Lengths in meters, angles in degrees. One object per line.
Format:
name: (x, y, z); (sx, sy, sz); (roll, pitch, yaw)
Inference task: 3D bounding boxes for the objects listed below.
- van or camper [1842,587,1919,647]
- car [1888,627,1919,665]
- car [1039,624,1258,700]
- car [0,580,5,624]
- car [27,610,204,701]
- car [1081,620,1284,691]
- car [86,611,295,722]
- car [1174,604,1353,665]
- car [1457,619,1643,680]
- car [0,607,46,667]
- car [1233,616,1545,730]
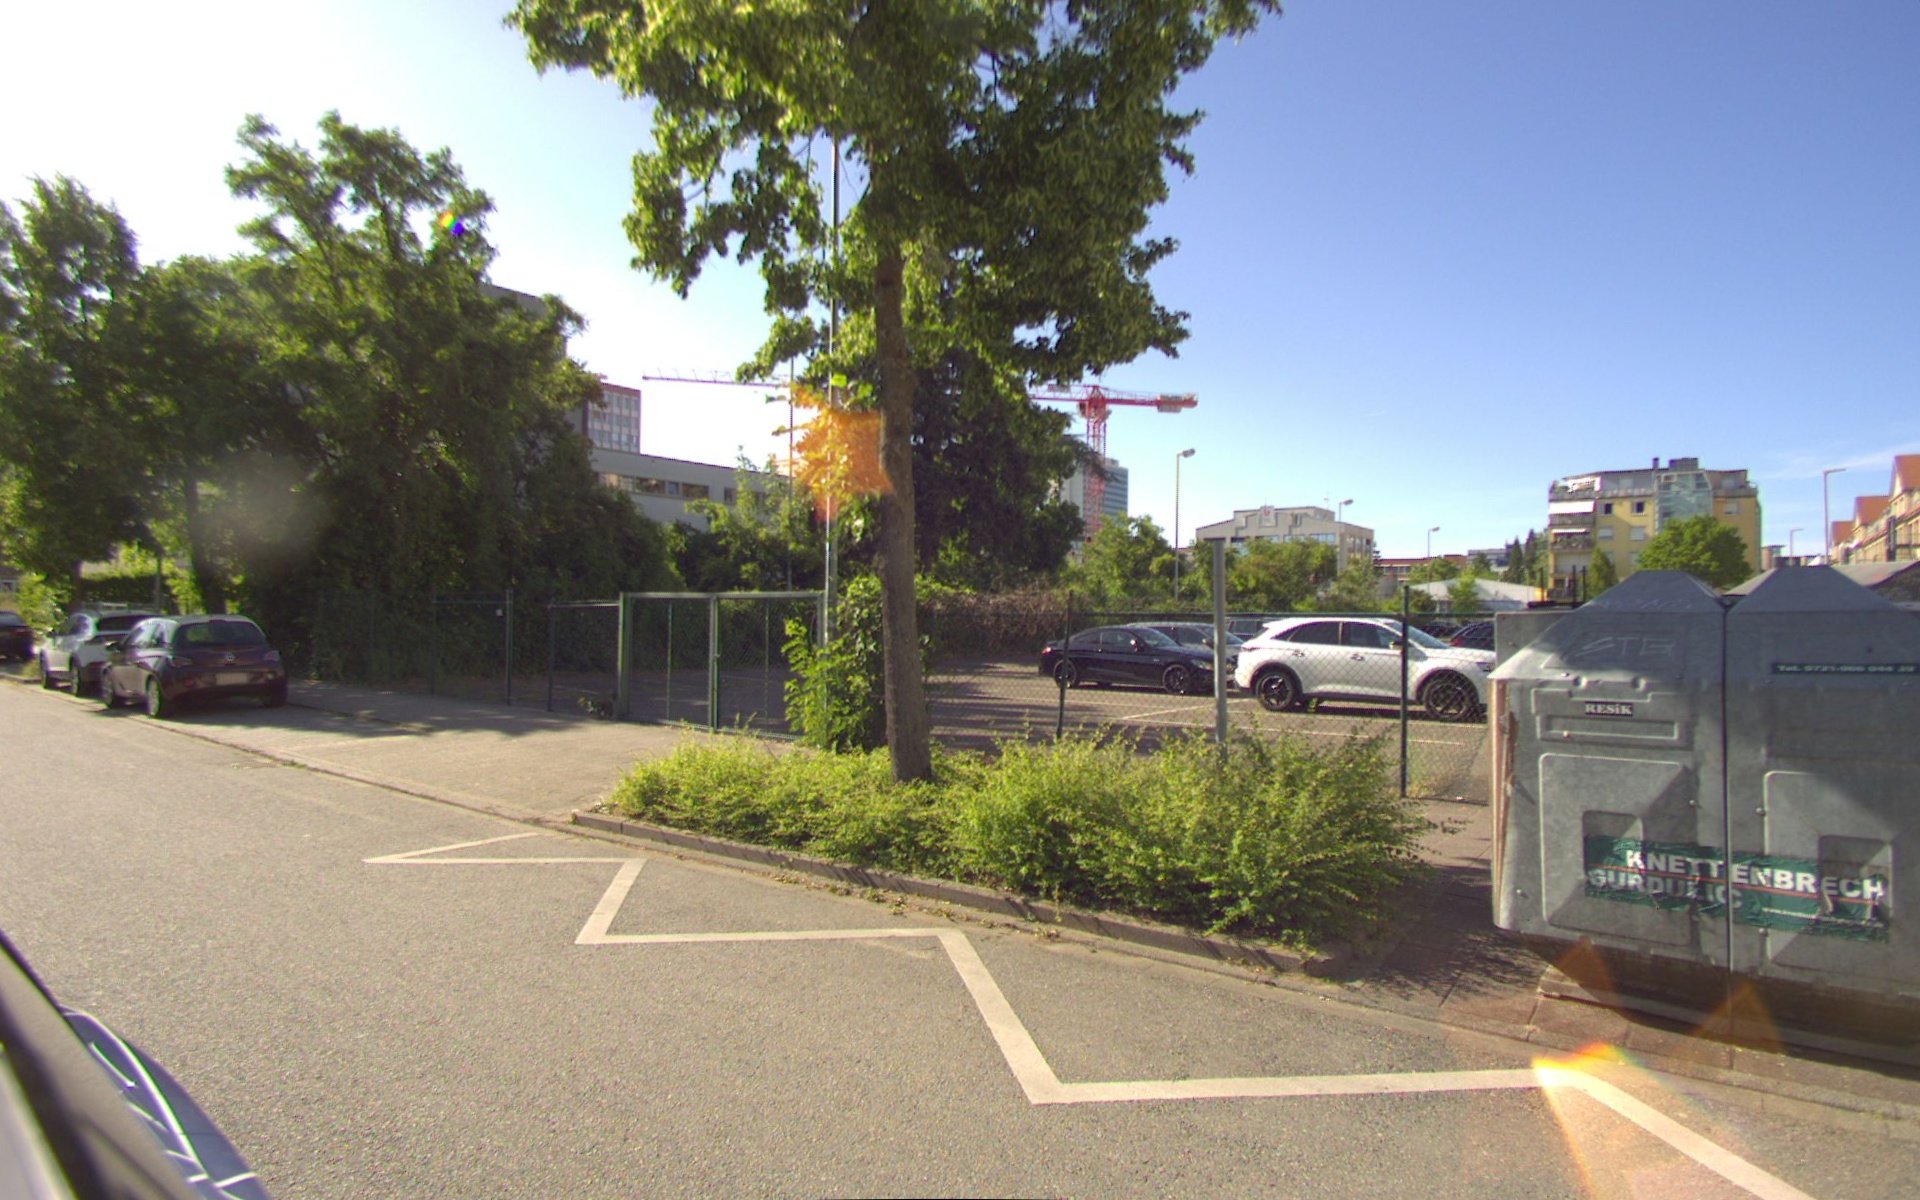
van or camper: (47.452, 0.834, 52.075); (2.720, 2.878, 5.070); (1, 0, 37)
car: (39.708, 1.882, 41.691); (1.849, 1.436, 4.170); (1, -1, 38)
car: (4.062, 1.279, 22.190); (4.372, 1.467, 1.946); (0, -1, 41)
car: (-66.812, 0.072, 66.847); (2.009, 2.924, 5.096); (0, -1, 34)
car: (-16.230, 0.971, 19.401); (3.997, 1.485, 1.823); (0, 1, 38)
car: (5.265, 1.248, 24.230); (4.372, 1.506, 1.946); (0, -1, 41)
car: (-12.227, 0.958, 16.026); (3.540, 1.485, 1.702); (0, 1, 36)
car: (8.404, 0.914, 28.220); (4.372, 1.572, 1.946); (0, -1, 41)
car: (16.407, 1.318, 28.258); (4.241, 1.572, 1.872); (0, -1, 41)
car: (-26.676, 0.986, 27.641); (4.354, 1.485, 1.823); (0, 1, 38)
car: (7.056, 1.097, 16.903); (4.424, 1.622, 1.973); (0, -1, 41)
